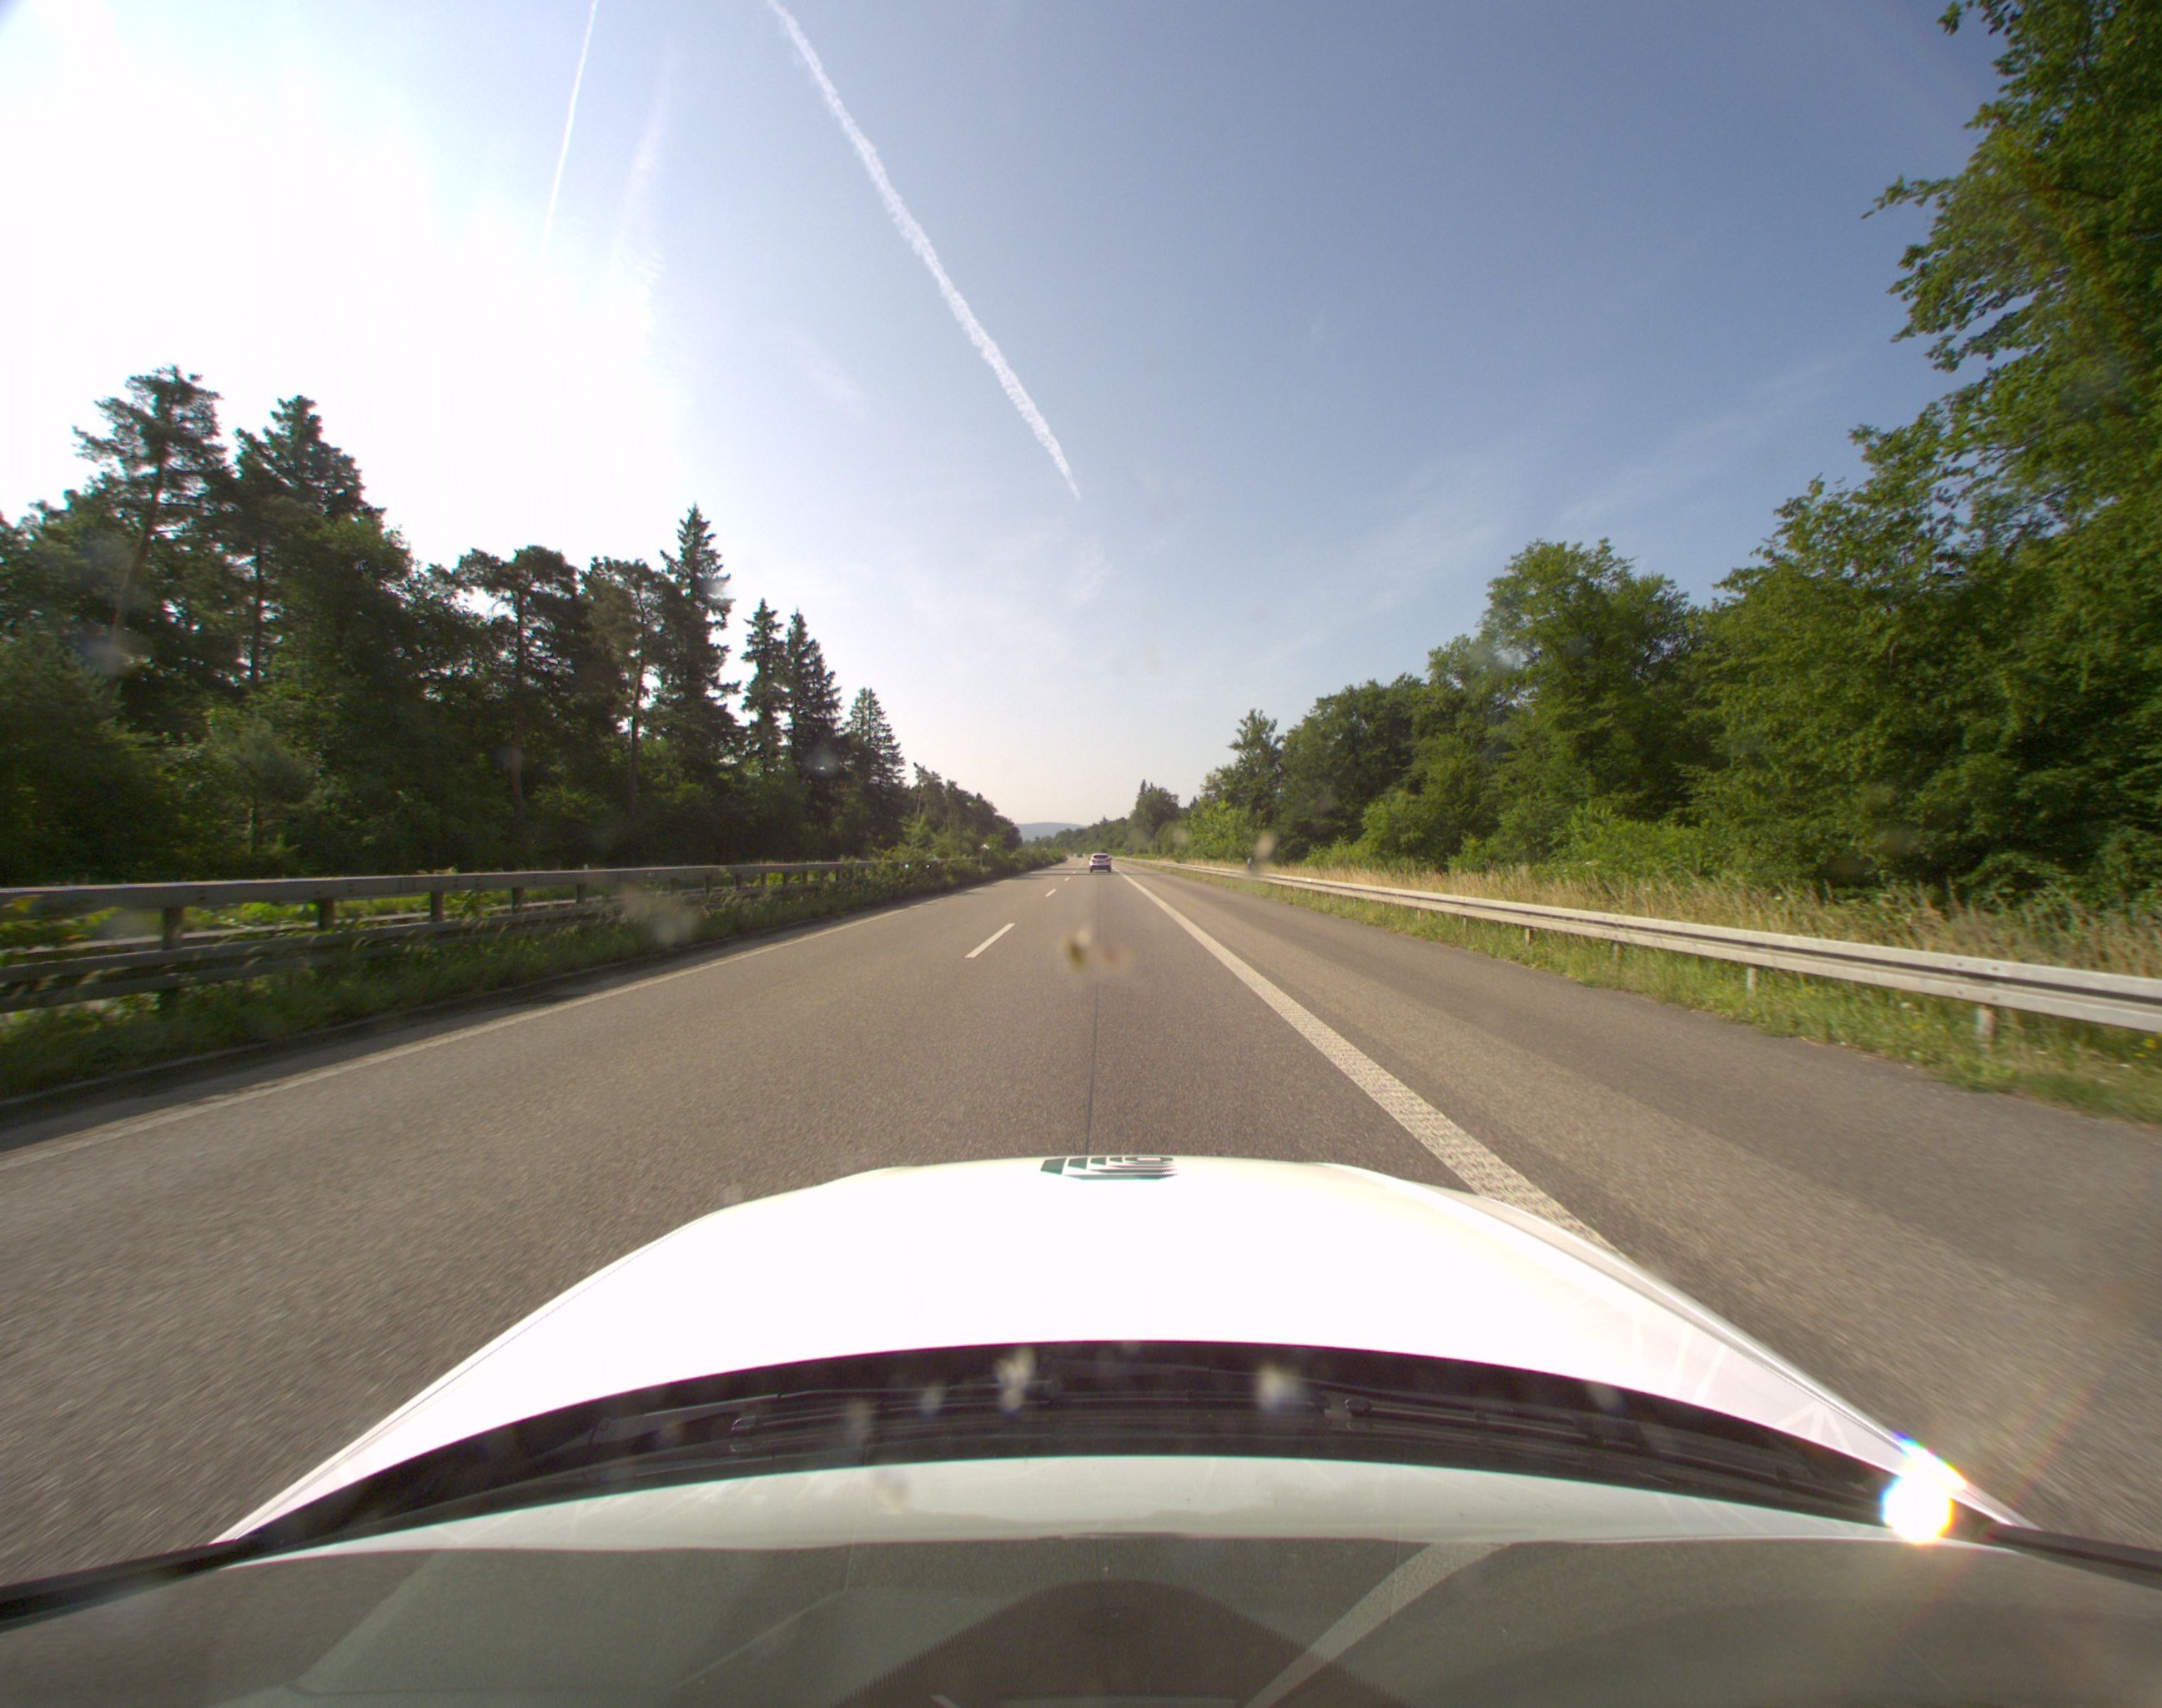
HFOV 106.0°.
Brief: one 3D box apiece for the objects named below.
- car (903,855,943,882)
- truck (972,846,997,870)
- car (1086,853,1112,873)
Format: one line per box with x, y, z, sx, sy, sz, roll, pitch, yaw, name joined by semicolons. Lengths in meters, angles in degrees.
-9.766;0.863;50.612;1.738;1.587;3.666;0;0;0;car
-13.764;0.526;116.436;2.454;3.176;7.228;-2;0;1;truck
1.533;0.771;68.913;1.869;1.586;3.995;1;0;-3;car
